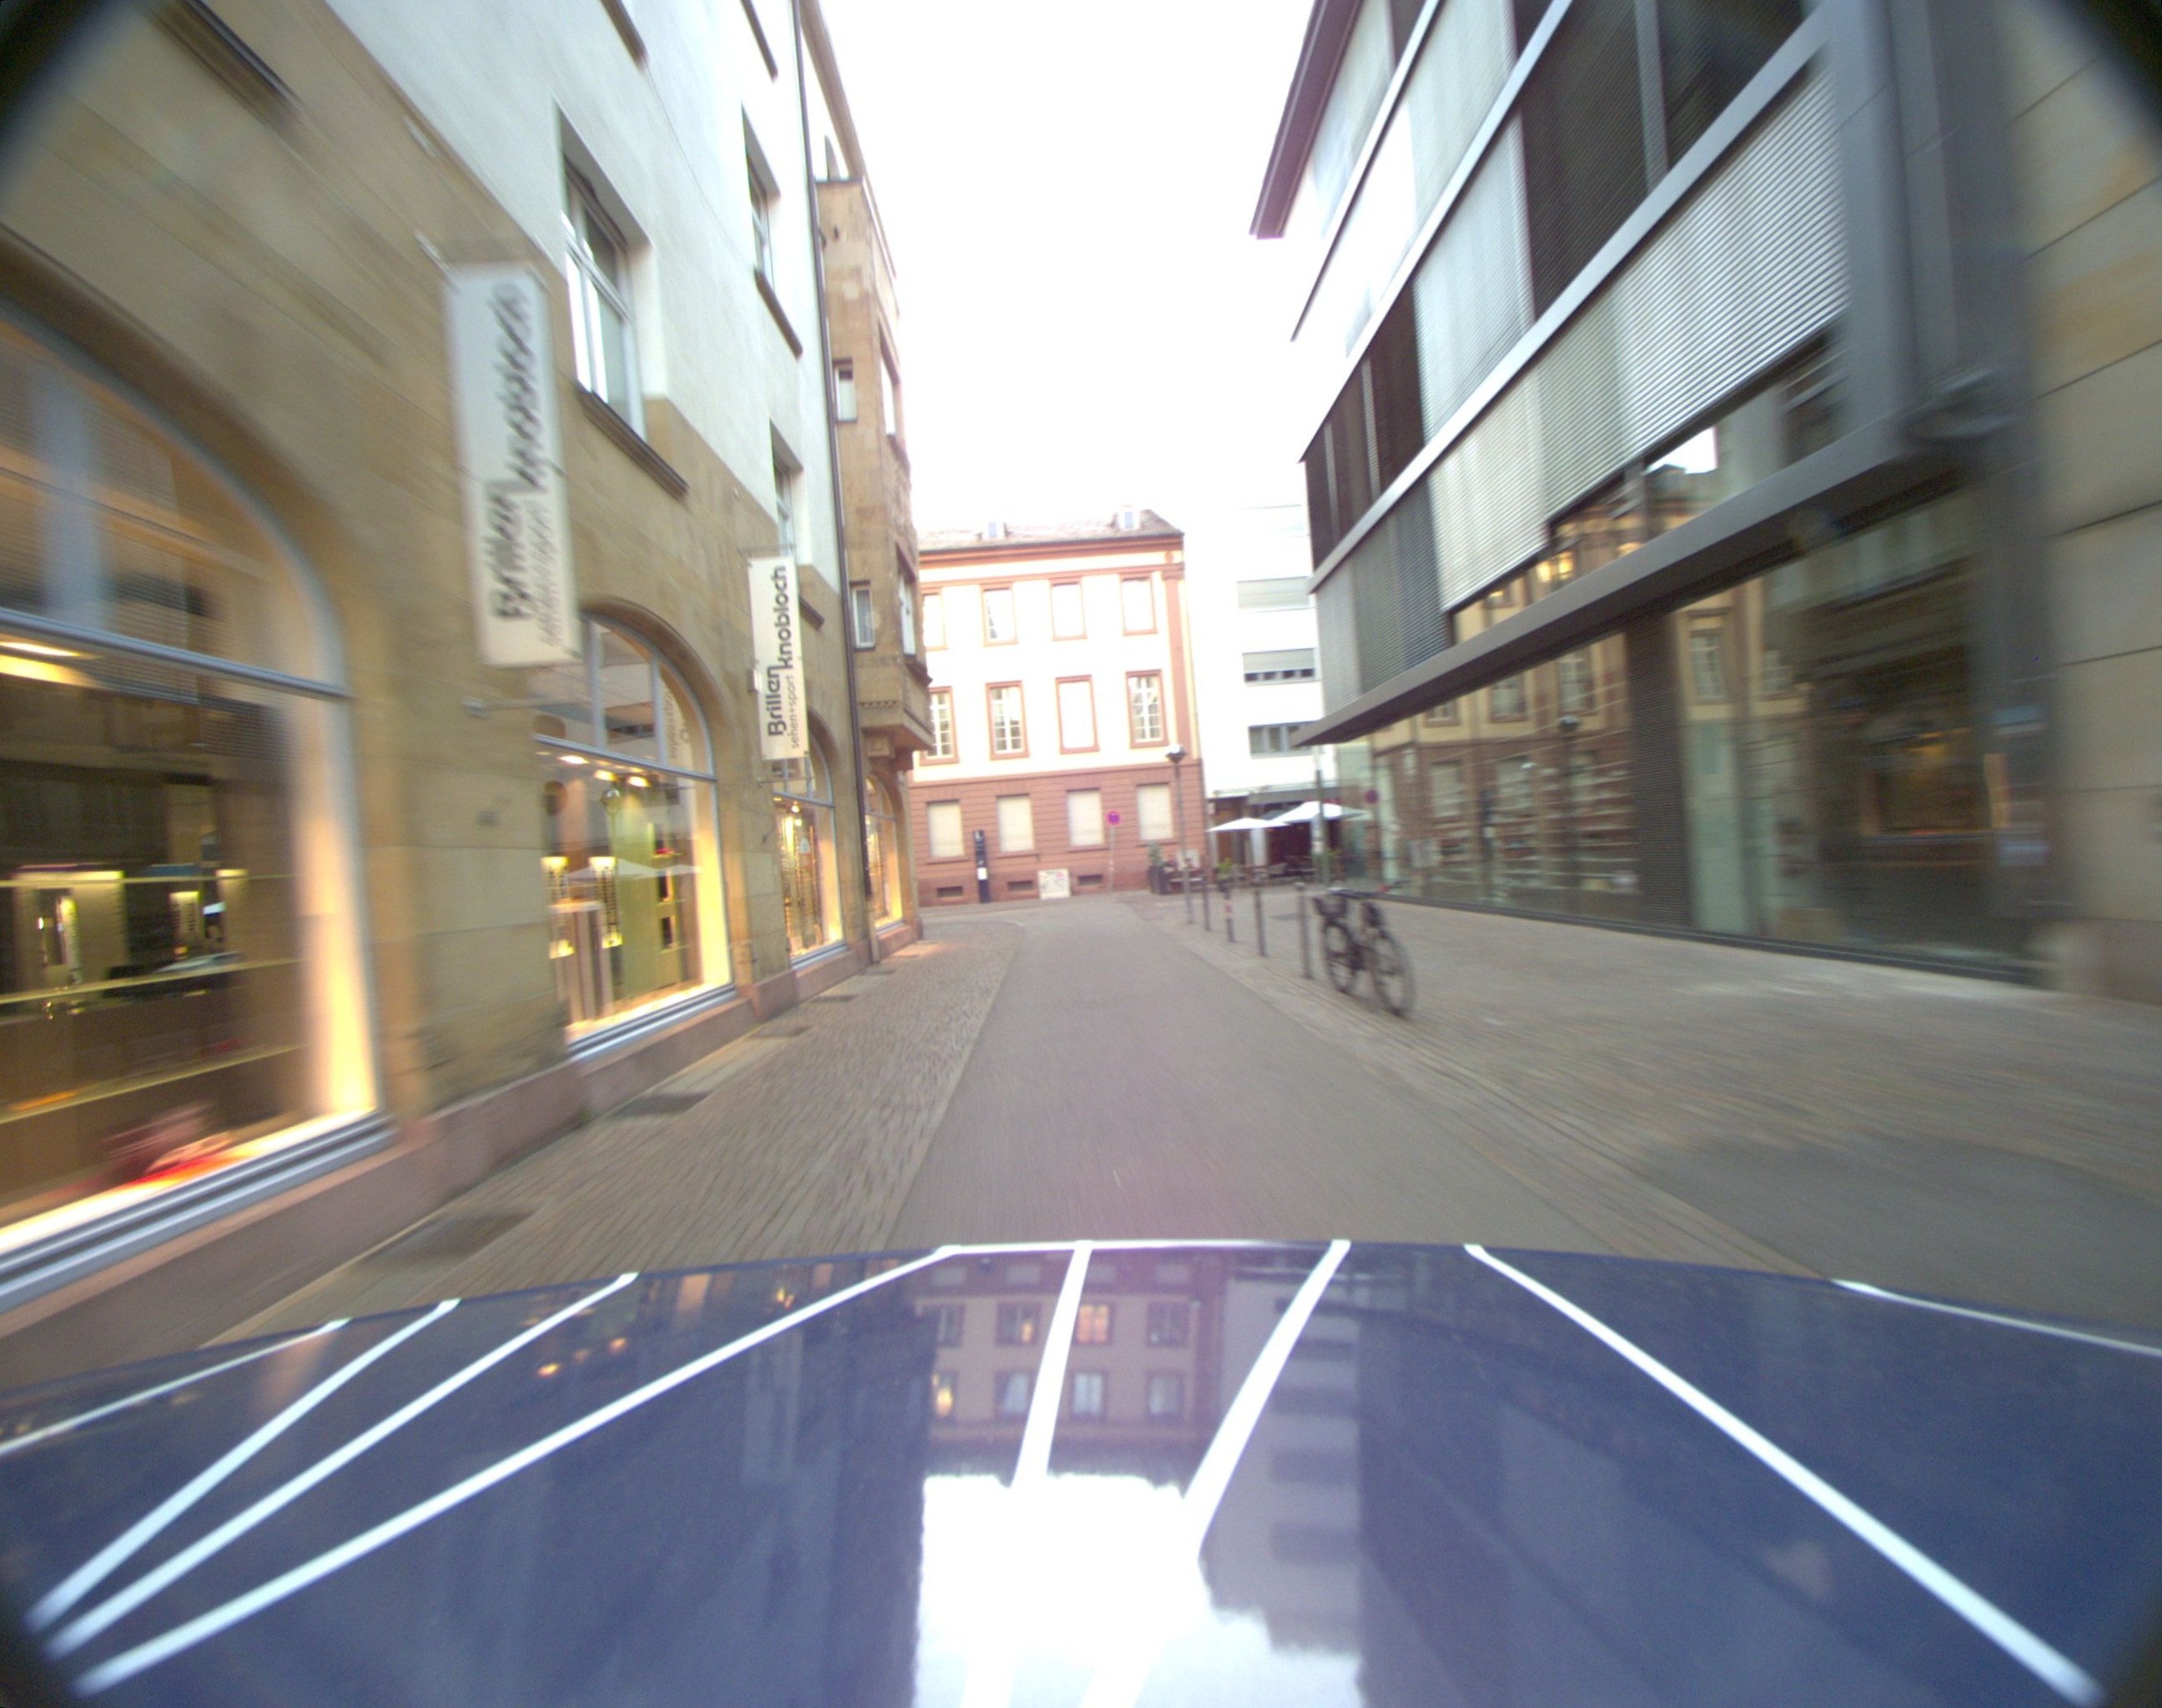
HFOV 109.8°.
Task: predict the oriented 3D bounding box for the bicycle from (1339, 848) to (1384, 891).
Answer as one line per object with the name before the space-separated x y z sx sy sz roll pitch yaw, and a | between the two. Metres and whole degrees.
bicycle | 7.799 0.440 21.193 0.467 1.129 1.703 -5 -2 -2

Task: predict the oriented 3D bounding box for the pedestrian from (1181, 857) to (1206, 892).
pedestrian | 4.053 0.742 27.441 0.673 1.177 0.792 -5 2 -3

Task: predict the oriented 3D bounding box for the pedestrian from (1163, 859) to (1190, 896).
pedestrian | 3.318 0.811 26.410 0.673 1.177 0.792 -5 2 -7

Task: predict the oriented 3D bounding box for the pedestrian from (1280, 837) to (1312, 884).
pedestrian | 7.827 0.240 27.680 0.725 1.639 0.792 -5 0 -7

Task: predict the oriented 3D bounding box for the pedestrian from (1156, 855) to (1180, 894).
pedestrian | 3.164 0.733 27.746 0.673 1.323 0.792 -5 2 -3

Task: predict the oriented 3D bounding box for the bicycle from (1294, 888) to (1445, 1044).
bicycle | 2.545 0.925 6.946 0.411 1.126 1.930 -5 0 -5
